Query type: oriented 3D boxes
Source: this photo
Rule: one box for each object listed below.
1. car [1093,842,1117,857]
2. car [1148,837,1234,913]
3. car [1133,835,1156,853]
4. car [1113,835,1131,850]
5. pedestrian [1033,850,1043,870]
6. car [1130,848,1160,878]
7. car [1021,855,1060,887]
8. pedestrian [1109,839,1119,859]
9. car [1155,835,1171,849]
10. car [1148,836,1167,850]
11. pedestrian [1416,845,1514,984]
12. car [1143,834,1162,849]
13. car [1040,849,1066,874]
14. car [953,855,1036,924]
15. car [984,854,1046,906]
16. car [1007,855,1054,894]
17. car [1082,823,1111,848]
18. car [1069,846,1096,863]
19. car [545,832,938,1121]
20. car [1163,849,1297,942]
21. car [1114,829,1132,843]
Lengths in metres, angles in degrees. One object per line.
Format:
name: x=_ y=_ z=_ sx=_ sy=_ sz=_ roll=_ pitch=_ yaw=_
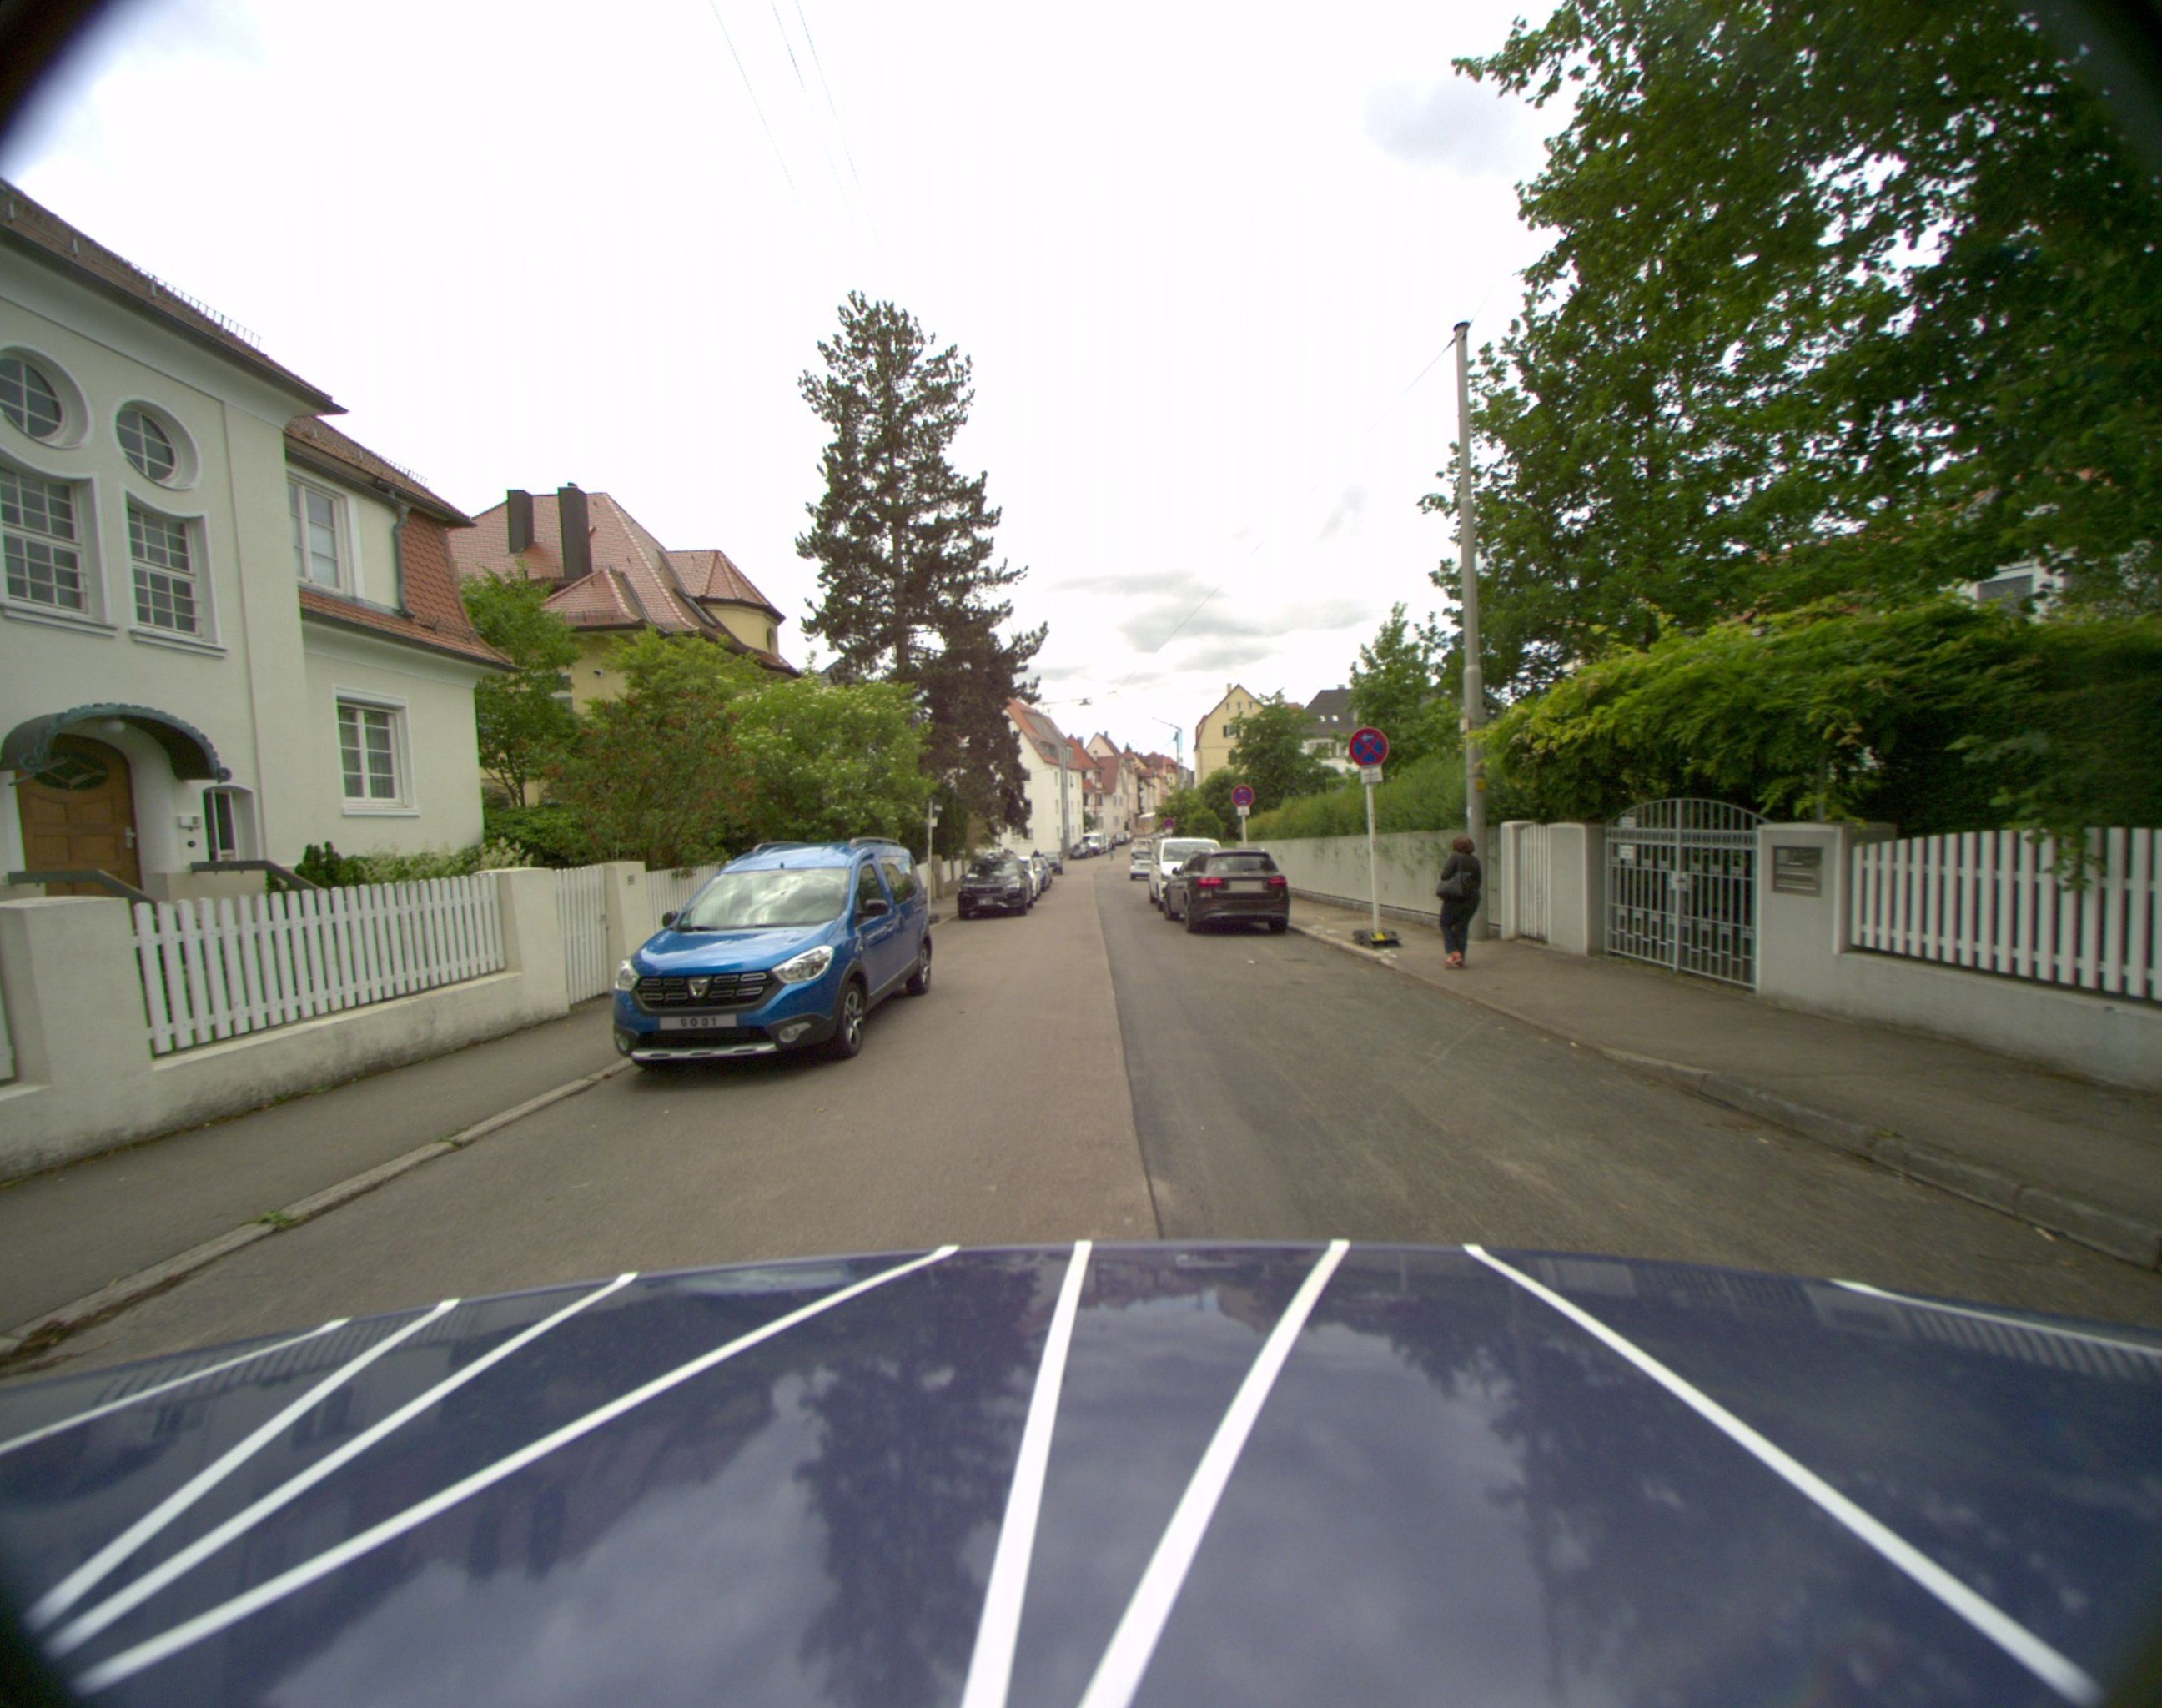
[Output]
car: x=2.754 y=-0.542 z=86.501 sx=1.827 sy=1.437 sz=4.384 roll=-2 pitch=4 yaw=13
car: x=2.988 y=0.509 z=21.548 sx=1.859 sy=1.902 sz=4.619 roll=0 pitch=1 yaw=1
car: x=6.375 y=-0.987 z=76.179 sx=1.807 sy=1.650 sz=4.153 roll=-1 pitch=2 yaw=12
car: x=5.355 y=-1.470 z=98.206 sx=1.779 sy=1.711 sz=4.002 roll=-2 pitch=2 yaw=10
pedestrian: x=-3.574 y=0.475 z=63.078 sx=0.682 sy=1.568 sz=0.906 roll=0 pitch=3 yaw=7
car: x=3.485 y=0.456 z=41.129 sx=1.445 sy=1.543 sz=2.771 roll=1 pitch=1 yaw=8
car: x=-1.952 y=0.828 z=37.879 sx=1.577 sy=1.392 sz=3.655 roll=-4 pitch=0 yaw=1
pedestrian: x=2.976 y=-0.436 z=68.960 sx=0.822 sy=1.750 sz=0.644 roll=-4 pitch=2 yaw=3
car: x=10.340 y=-1.531 z=95.855 sx=1.641 sy=1.421 sz=4.124 roll=0 pitch=5 yaw=12
car: x=9.063 y=-1.327 z=89.827 sx=1.805 sy=1.472 sz=4.329 roll=-1 pitch=4 yaw=12
pedestrian: x=4.608 y=0.695 z=9.166 sx=0.610 sy=1.537 sz=0.797 roll=-7 pitch=1 yaw=0
car: x=7.679 y=-1.337 z=81.050 sx=1.609 sy=1.445 sz=3.615 roll=1 pitch=4 yaw=12
car: x=-1.904 y=0.476 z=51.558 sx=1.576 sy=1.523 sz=2.867 roll=-5 pitch=1 yaw=-1
car: x=-2.354 y=0.915 z=21.668 sx=1.754 sy=1.598 sz=4.075 roll=-4 pitch=1 yaw=1
car: x=-2.329 y=0.880 z=27.655 sx=1.789 sy=1.594 sz=4.304 roll=-4 pitch=0 yaw=0
car: x=-2.150 y=0.850 z=33.469 sx=1.651 sy=1.450 sz=4.051 roll=-3 pitch=1 yaw=1
car: x=1.683 y=-2.034 z=81.429 sx=1.996 sy=2.409 sz=5.295 roll=-1 pitch=4 yaw=13
car: x=0.162 y=0.013 z=74.732 sx=1.821 sy=1.478 sz=4.288 roll=-2 pitch=2 yaw=11
car: x=-2.659 y=0.833 z=7.152 sx=1.687 sy=1.818 sz=4.157 roll=-4 pitch=0 yaw=0
car: x=2.867 y=0.733 z=15.619 sx=1.795 sy=1.614 sz=4.342 roll=-1 pitch=0 yaw=-1
car: x=5.434 y=-2.328 z=98.172 sx=1.607 sy=1.482 sz=4.024 roll=-3 pitch=4 yaw=12
